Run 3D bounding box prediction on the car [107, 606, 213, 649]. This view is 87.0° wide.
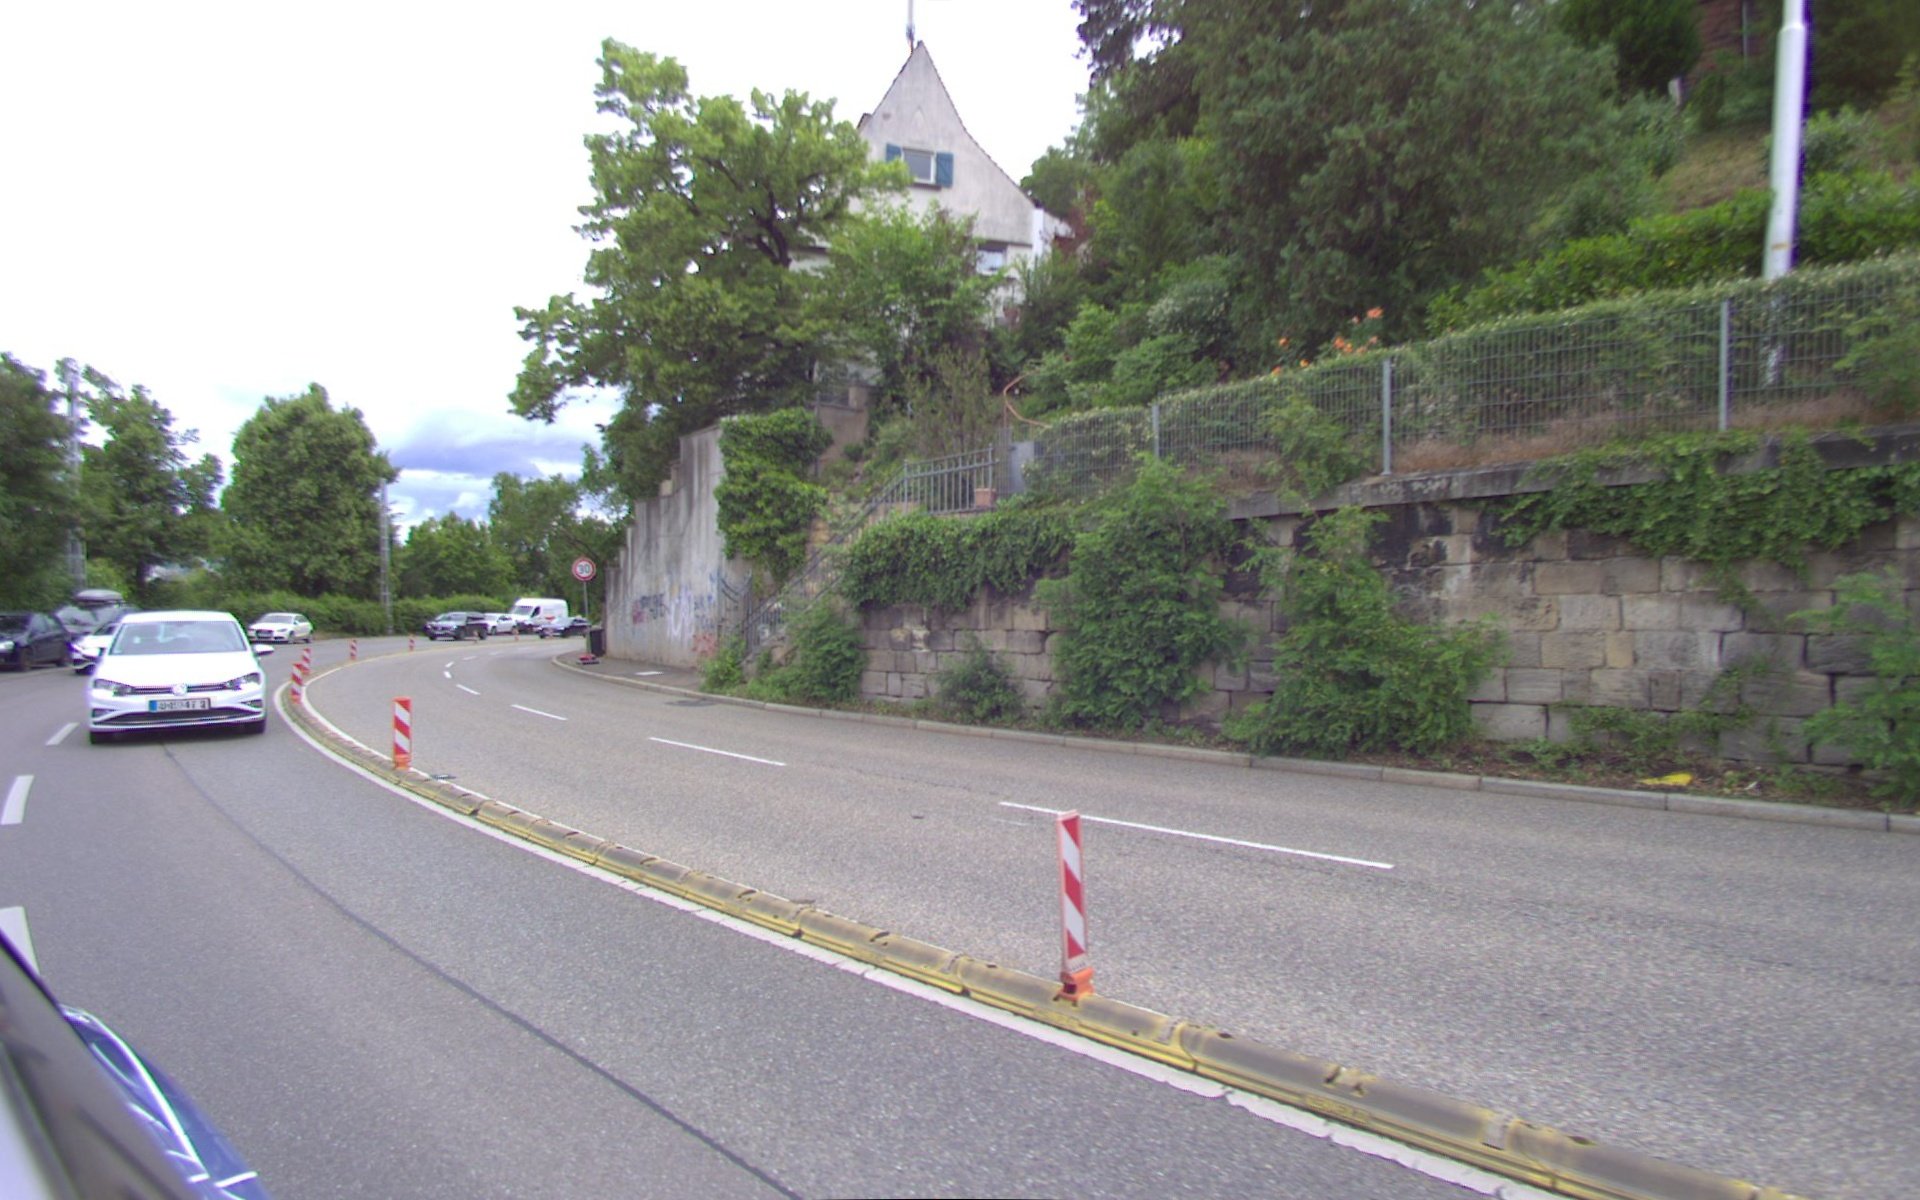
[{"bbox_3d":[-28.833,0.974,36.604,1.901,1.444,4.013,0,-1,-21],"label":"car"}]

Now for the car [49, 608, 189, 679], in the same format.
[{"bbox_3d":[-22.165,1.102,26.868,1.965,1.731,4.013,2,-2,-27],"label":"car"}]

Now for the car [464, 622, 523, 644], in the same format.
[{"bbox_3d":[-32.151,2.241,69.845,1.854,1.444,4.090,0,-1,7],"label":"car"}]

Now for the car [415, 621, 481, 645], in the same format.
[{"bbox_3d":[-32.276,2.077,63.901,1.909,1.444,4.095,0,-1,3],"label":"car"}]

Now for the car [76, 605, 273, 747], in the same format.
[{"bbox_3d":[-10.549,0.881,13.644,1.797,1.592,4.365,2,-1,-38],"label":"car"}]

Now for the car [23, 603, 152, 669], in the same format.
[{"bbox_3d":[-26.698,1.081,31.150,1.669,1.846,4.418,3,-2,-23],"label":"car"}]

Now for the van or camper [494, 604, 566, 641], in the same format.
[{"bbox_3d":[-31.864,1.688,75.166,2.243,2.648,5.402,0,-1,11],"label":"van or camper"}]

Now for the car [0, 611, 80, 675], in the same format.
[{"bbox_3d":[-24.374,1.125,25.902,1.669,1.534,3.930,-1,-2,-23],"label":"car"}]

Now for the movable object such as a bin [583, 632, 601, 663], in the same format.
[{"bbox_3d":[-11.838,1.518,32.588,0.519,0.970,0.461,0,-2,-23],"label":"movable object such as a bin"}]

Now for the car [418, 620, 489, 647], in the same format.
[{"bbox_3d":[-29.148,1.899,58.390,1.877,1.505,4.138,0,-1,3],"label":"car"}]

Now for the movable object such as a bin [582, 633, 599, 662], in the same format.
[{"bbox_3d":[-12.438,1.597,34.084,0.519,0.938,0.483,0,-1,-23],"label":"movable object such as a bin"}]

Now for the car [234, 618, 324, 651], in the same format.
[{"bbox_3d":[-31.769,1.582,47.353,1.904,1.444,4.006,1,-1,-7],"label":"car"}]

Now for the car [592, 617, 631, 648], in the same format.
[{"bbox_3d":[-21.429,1.967,62.409,1.966,1.842,5.160,0,-1,-15],"label":"car"}]

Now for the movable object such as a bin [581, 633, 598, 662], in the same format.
[{"bbox_3d":[-12.642,1.621,34.566,0.519,0.970,0.431,0,-2,-23],"label":"movable object such as a bin"}]

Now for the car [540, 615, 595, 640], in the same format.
[{"bbox_3d":[-26.937,1.883,69.526,1.901,1.505,4.136,0,1,5],"label":"car"}]
